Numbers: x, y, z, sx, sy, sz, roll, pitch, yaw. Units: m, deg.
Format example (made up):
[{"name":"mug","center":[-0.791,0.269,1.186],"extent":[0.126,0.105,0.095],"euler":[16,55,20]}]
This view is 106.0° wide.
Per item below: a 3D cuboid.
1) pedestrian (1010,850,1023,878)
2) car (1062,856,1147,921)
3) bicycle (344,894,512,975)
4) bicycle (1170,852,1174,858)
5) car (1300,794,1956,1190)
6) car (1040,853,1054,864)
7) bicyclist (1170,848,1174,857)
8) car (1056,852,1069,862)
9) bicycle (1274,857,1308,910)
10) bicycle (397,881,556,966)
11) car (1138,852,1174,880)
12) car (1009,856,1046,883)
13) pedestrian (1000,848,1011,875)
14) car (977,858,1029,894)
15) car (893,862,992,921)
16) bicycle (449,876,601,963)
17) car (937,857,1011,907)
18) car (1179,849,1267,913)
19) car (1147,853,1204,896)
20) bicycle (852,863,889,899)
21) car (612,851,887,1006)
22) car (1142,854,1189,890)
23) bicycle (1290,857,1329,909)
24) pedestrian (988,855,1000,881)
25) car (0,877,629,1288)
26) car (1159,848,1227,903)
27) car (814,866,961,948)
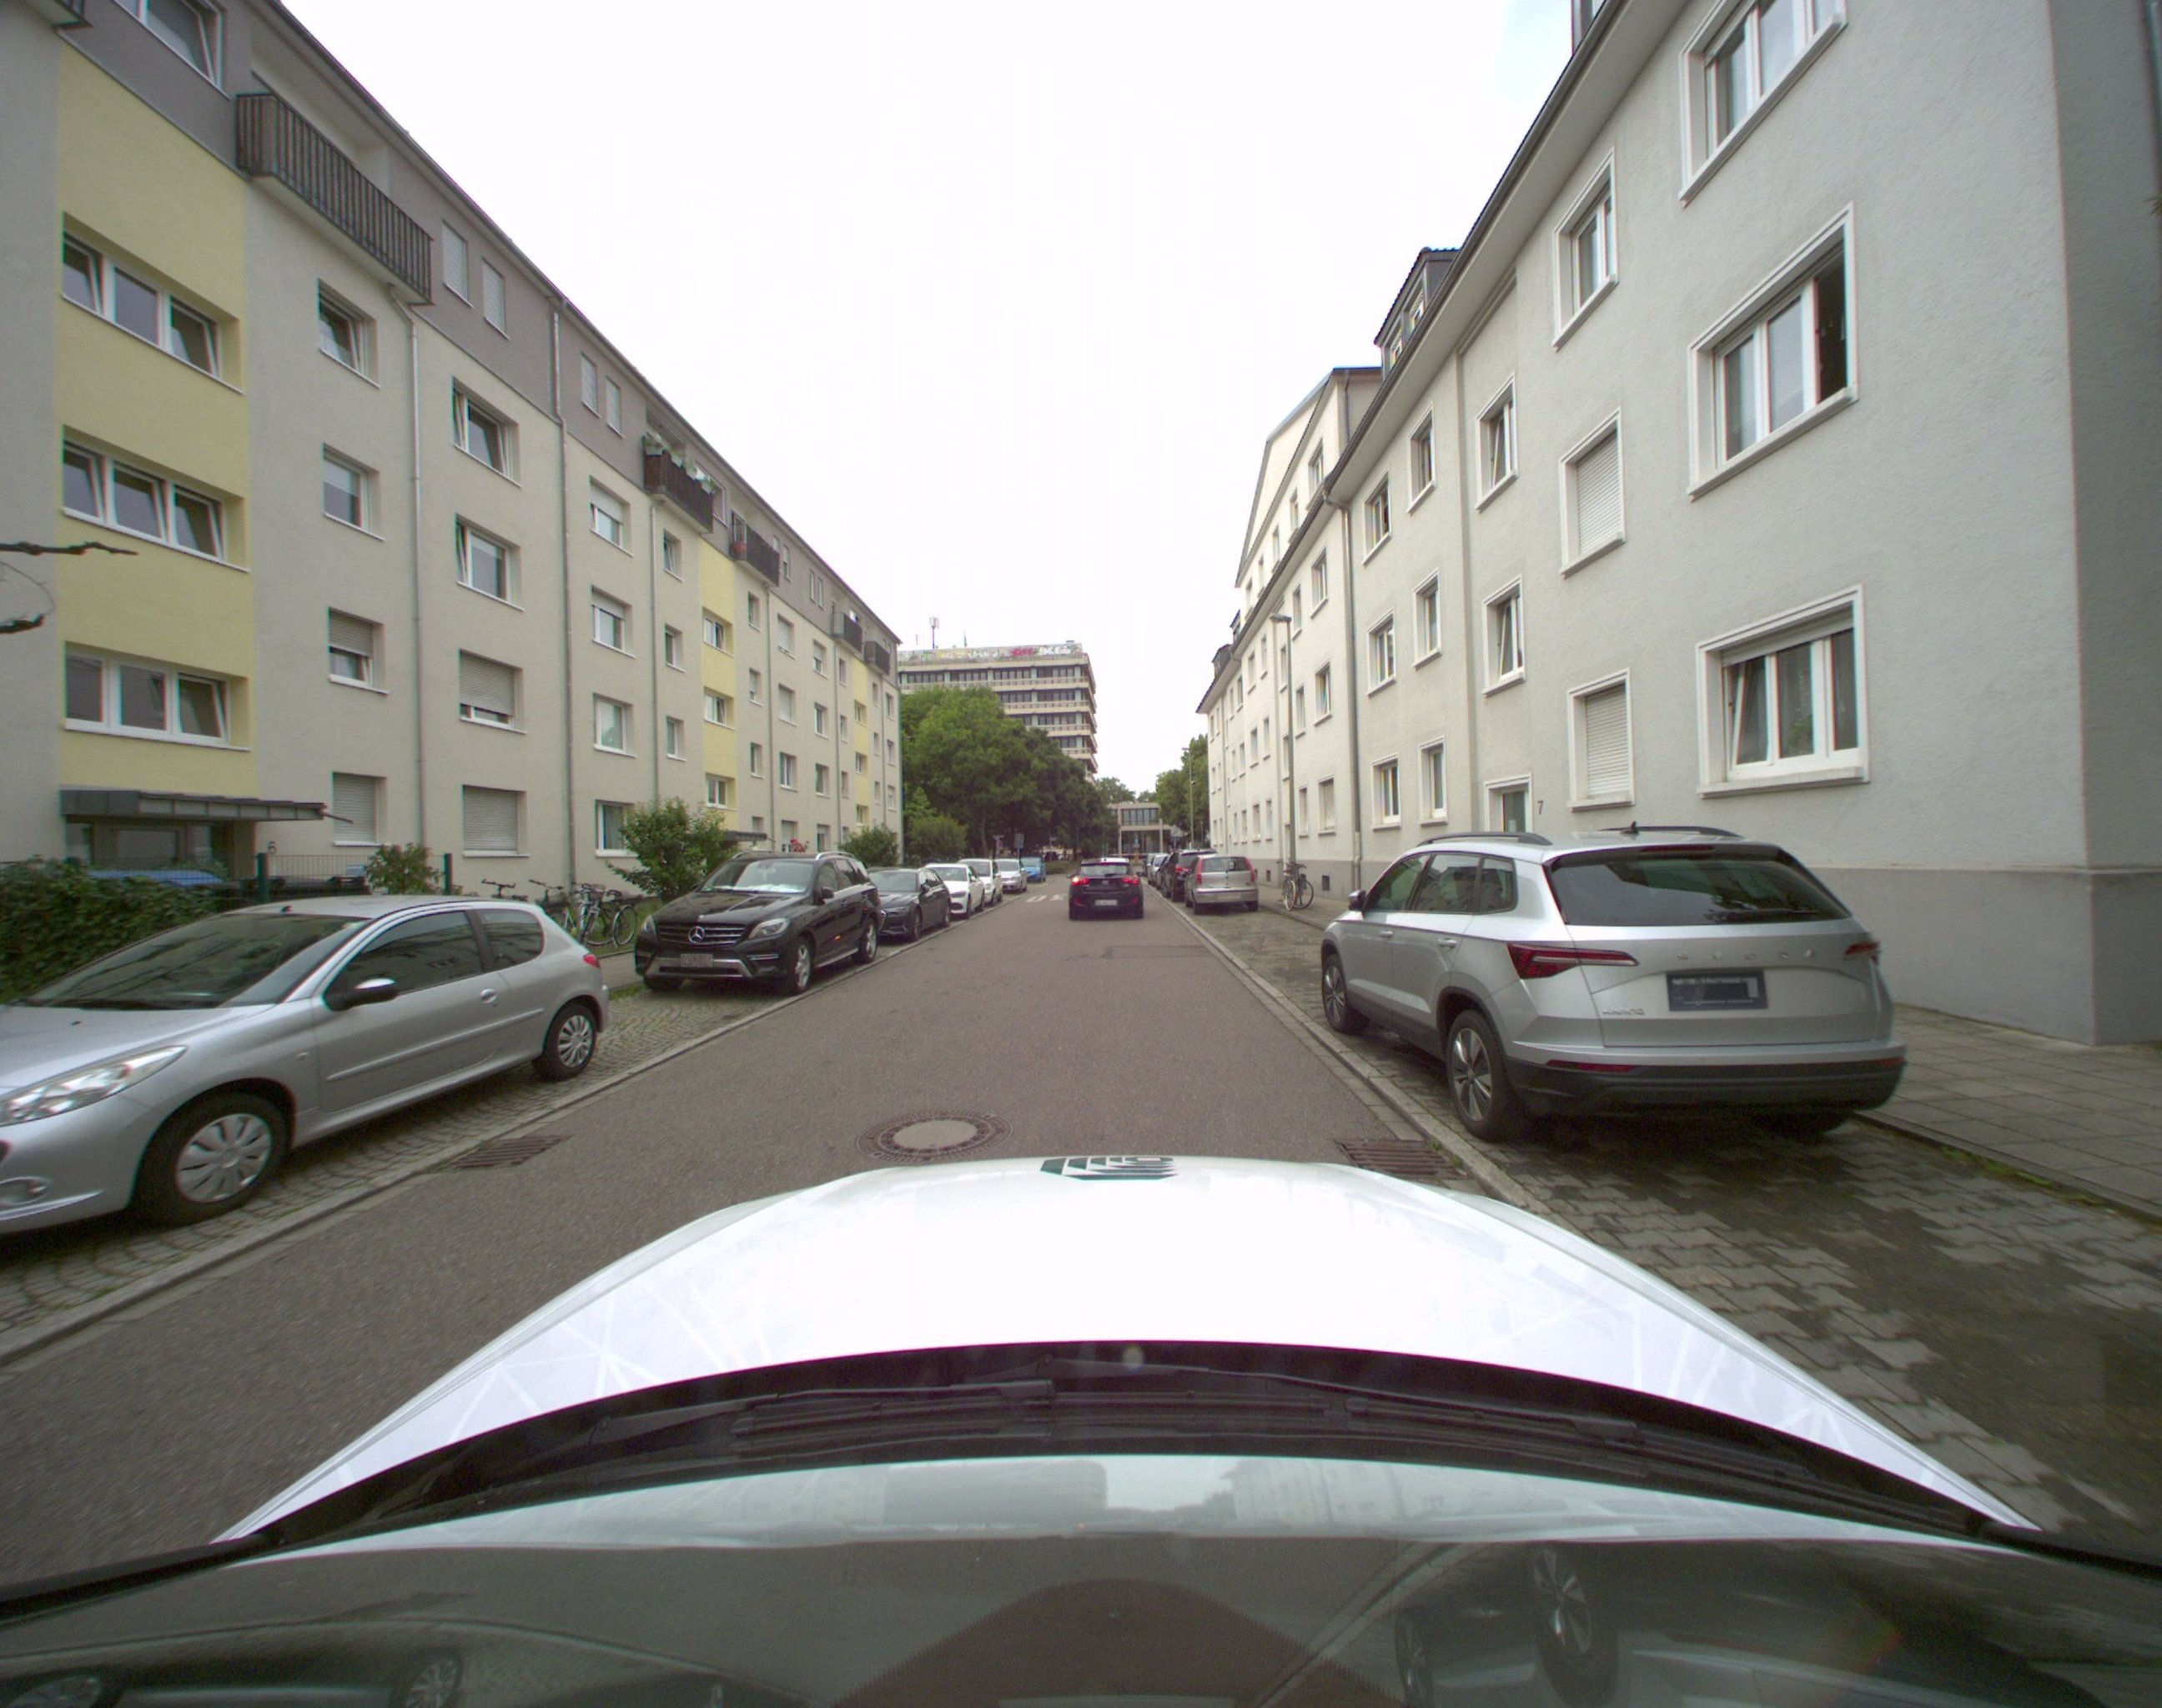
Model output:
[{"name":"pedestrian","center":[-4.294,0.673,54.154],"extent":[0.710,1.831,0.798],"euler":[-1,0,4]},{"name":"car","center":[0.646,0.794,20.725],"extent":[1.895,1.433,4.236],"euler":[-2,0,3]},{"name":"bicycle","center":[-10.768,1.277,13.577],"extent":[0.785,1.081,2.356],"euler":[-2,0,2]},{"name":"bicycle","center":[15.133,0.167,135.398],"extent":[0.690,0.997,1.736],"euler":[-1,0,3]},{"name":"car","center":[2.868,0.597,5.515],"extent":[1.813,1.642,4.094],"euler":[-2,0,3]},{"name":"car","center":[-4.506,0.548,108.106],"extent":[1.659,1.333,3.397],"euler":[-1,0,2]},{"name":"bicyclist","center":[15.127,-0.314,135.454],"extent":[0.690,1.444,0.796],"euler":[-1,0,3]},{"name":"car","center":[-2.763,0.465,121.506],"extent":[1.659,1.333,3.397],"euler":[-1,0,2]},{"name":"bicycle","center":[5.102,0.684,19.859],"extent":[0.527,1.175,2.041],"euler":[-3,0,8]},{"name":"bicycle","center":[-9.933,1.087,13.539],"extent":[0.785,1.186,2.356],"euler":[-2,0,2]},{"name":"car","center":[4.487,0.707,49.394],"extent":[1.813,1.519,4.675],"euler":[-3,0,2]},{"name":"car","center":[-3.236,0.923,49.801],"extent":[1.987,1.541,3.999],"euler":[-1,0,0]},{"name":"pedestrian","center":[-5.027,0.494,54.406],"extent":[0.602,1.831,0.676],"euler":[-1,0,4]},{"name":"car","center":[-3.527,0.966,37.373],"extent":[1.987,1.541,3.999],"euler":[-1,0,0]},{"name":"car","center":[-3.804,0.981,23.175],"extent":[1.888,1.452,4.523],"euler":[1,0,2]},{"name":"bicycle","center":[-9.101,1.030,13.490],"extent":[0.785,1.212,2.356],"euler":[-2,0,2]},{"name":"car","center":[-3.727,0.938,29.169],"extent":[1.888,1.599,4.523],"euler":[1,0,2]},{"name":"car","center":[3.673,0.660,21.709],"extent":[1.813,1.503,4.094],"euler":[-2,0,3]},{"name":"car","center":[3.694,0.759,32.475],"extent":[1.813,1.519,4.675],"euler":[-2,0,1]},{"name":"bicycle","center":[-7.614,0.970,29.562],"extent":[0.728,1.211,2.091],"euler":[-1,0,2]},{"name":"car","center":[-4.319,0.847,11.529],"extent":[1.888,1.740,4.477],"euler":[1,0,2]},{"name":"car","center":[3.906,0.781,38.125],"extent":[1.813,1.519,4.675],"euler":[-2,0,2]},{"name":"bicycle","center":[5.532,0.678,19.812],"extent":[0.573,1.175,2.041],"euler":[-3,0,8]},{"name":"pedestrian","center":[-5.774,0.919,54.037],"extent":[0.598,1.713,0.649],"euler":[-1,0,4]},{"name":"car","center":[-4.793,0.955,5.036],"extent":[1.738,1.464,3.788],"euler":[-2,0,2]},{"name":"car","center":[3.563,0.636,26.460],"extent":[1.813,1.603,4.094],"euler":[-2,0,3]},{"name":"car","center":[-3.974,1.018,17.594],"extent":[1.888,1.452,4.668],"euler":[1,0,2]}]
